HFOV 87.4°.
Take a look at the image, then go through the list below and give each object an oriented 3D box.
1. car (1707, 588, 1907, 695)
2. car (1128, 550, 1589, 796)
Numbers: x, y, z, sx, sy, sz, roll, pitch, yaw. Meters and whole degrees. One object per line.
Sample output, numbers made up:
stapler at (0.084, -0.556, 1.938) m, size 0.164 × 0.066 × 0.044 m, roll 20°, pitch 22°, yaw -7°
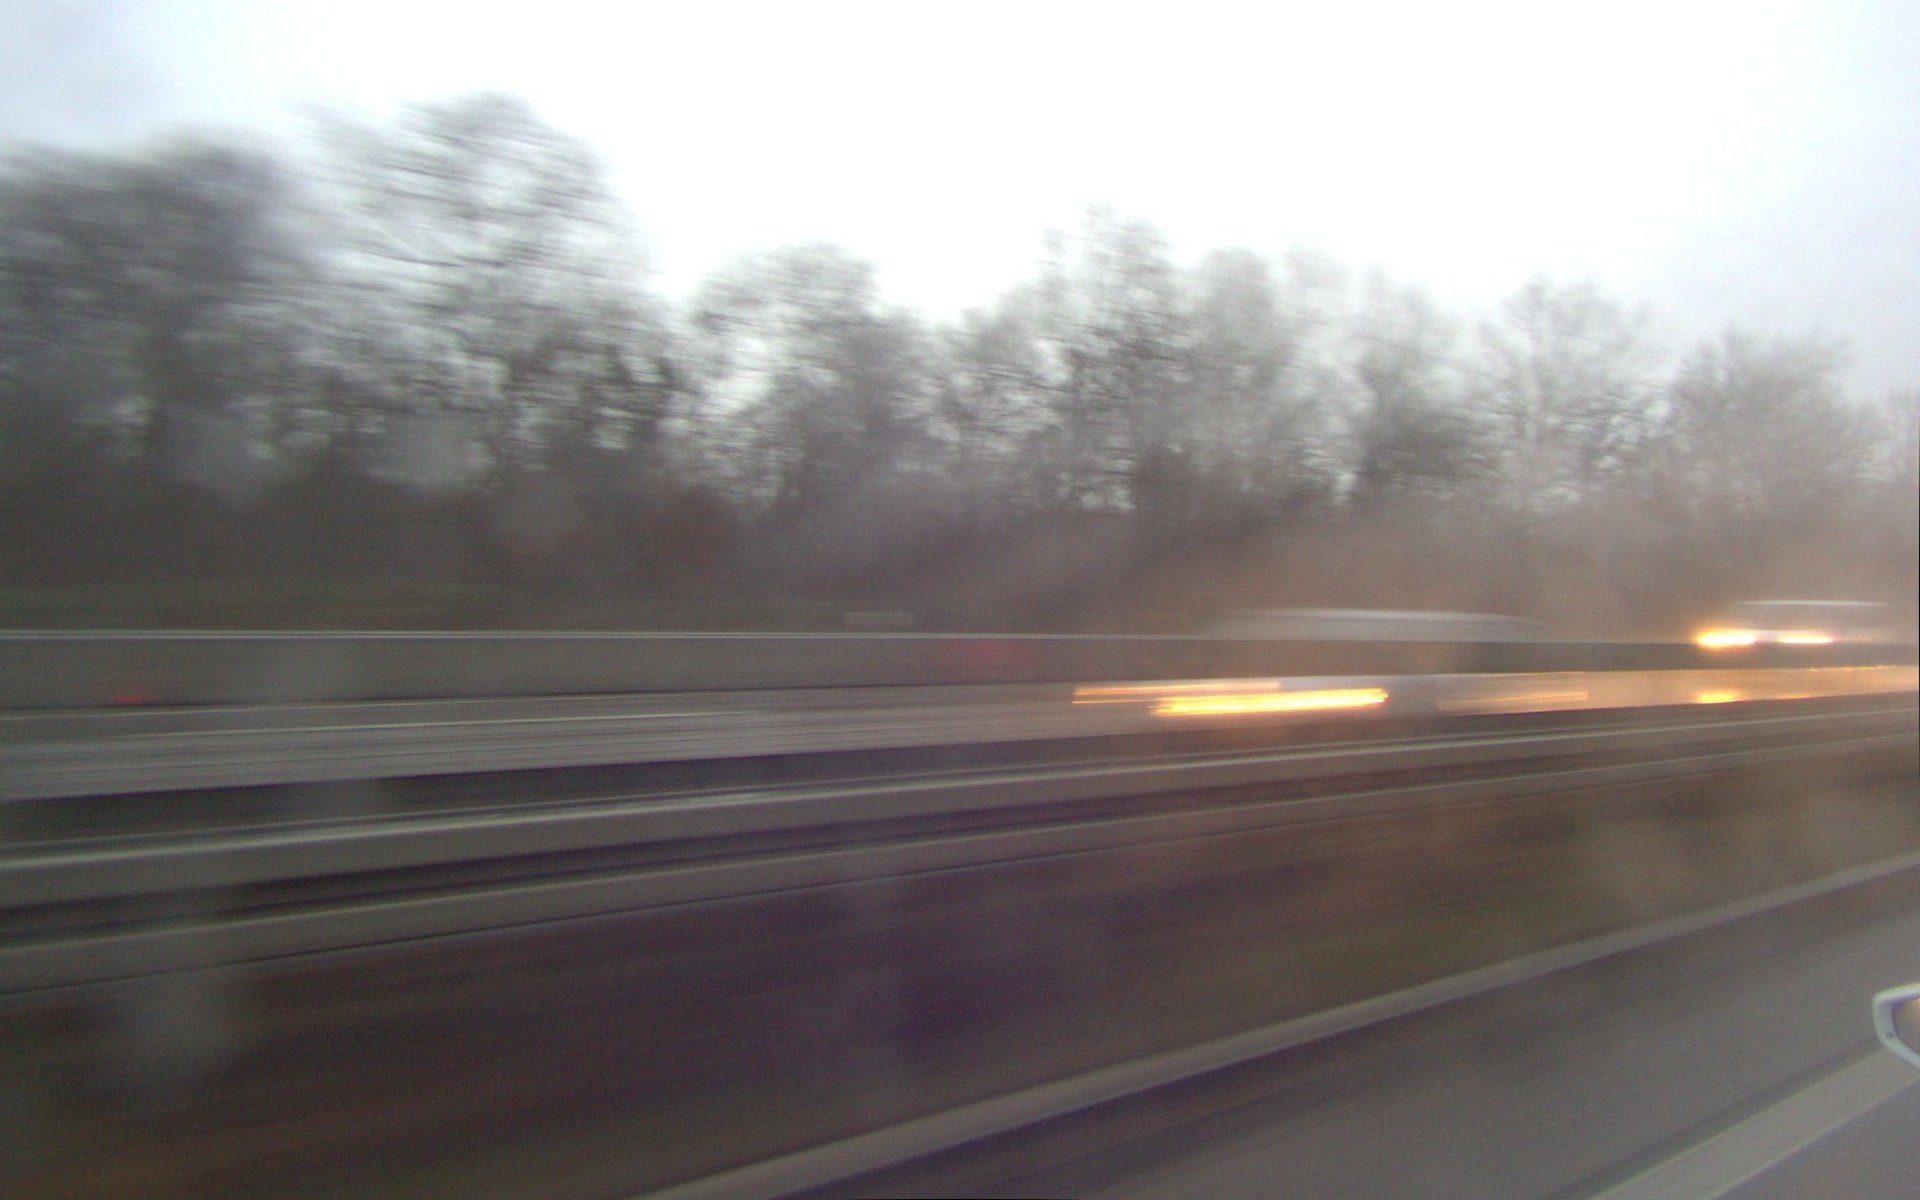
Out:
car at (20.588, 0.991, 24.363) m, size 5.397 × 2.347 × 2.021 m, roll 2°, pitch 0°, yaw -31°
car at (4.104, 0.652, 10.065) m, size 4.762 × 1.982 × 1.734 m, roll 2°, pitch 0°, yaw -31°
